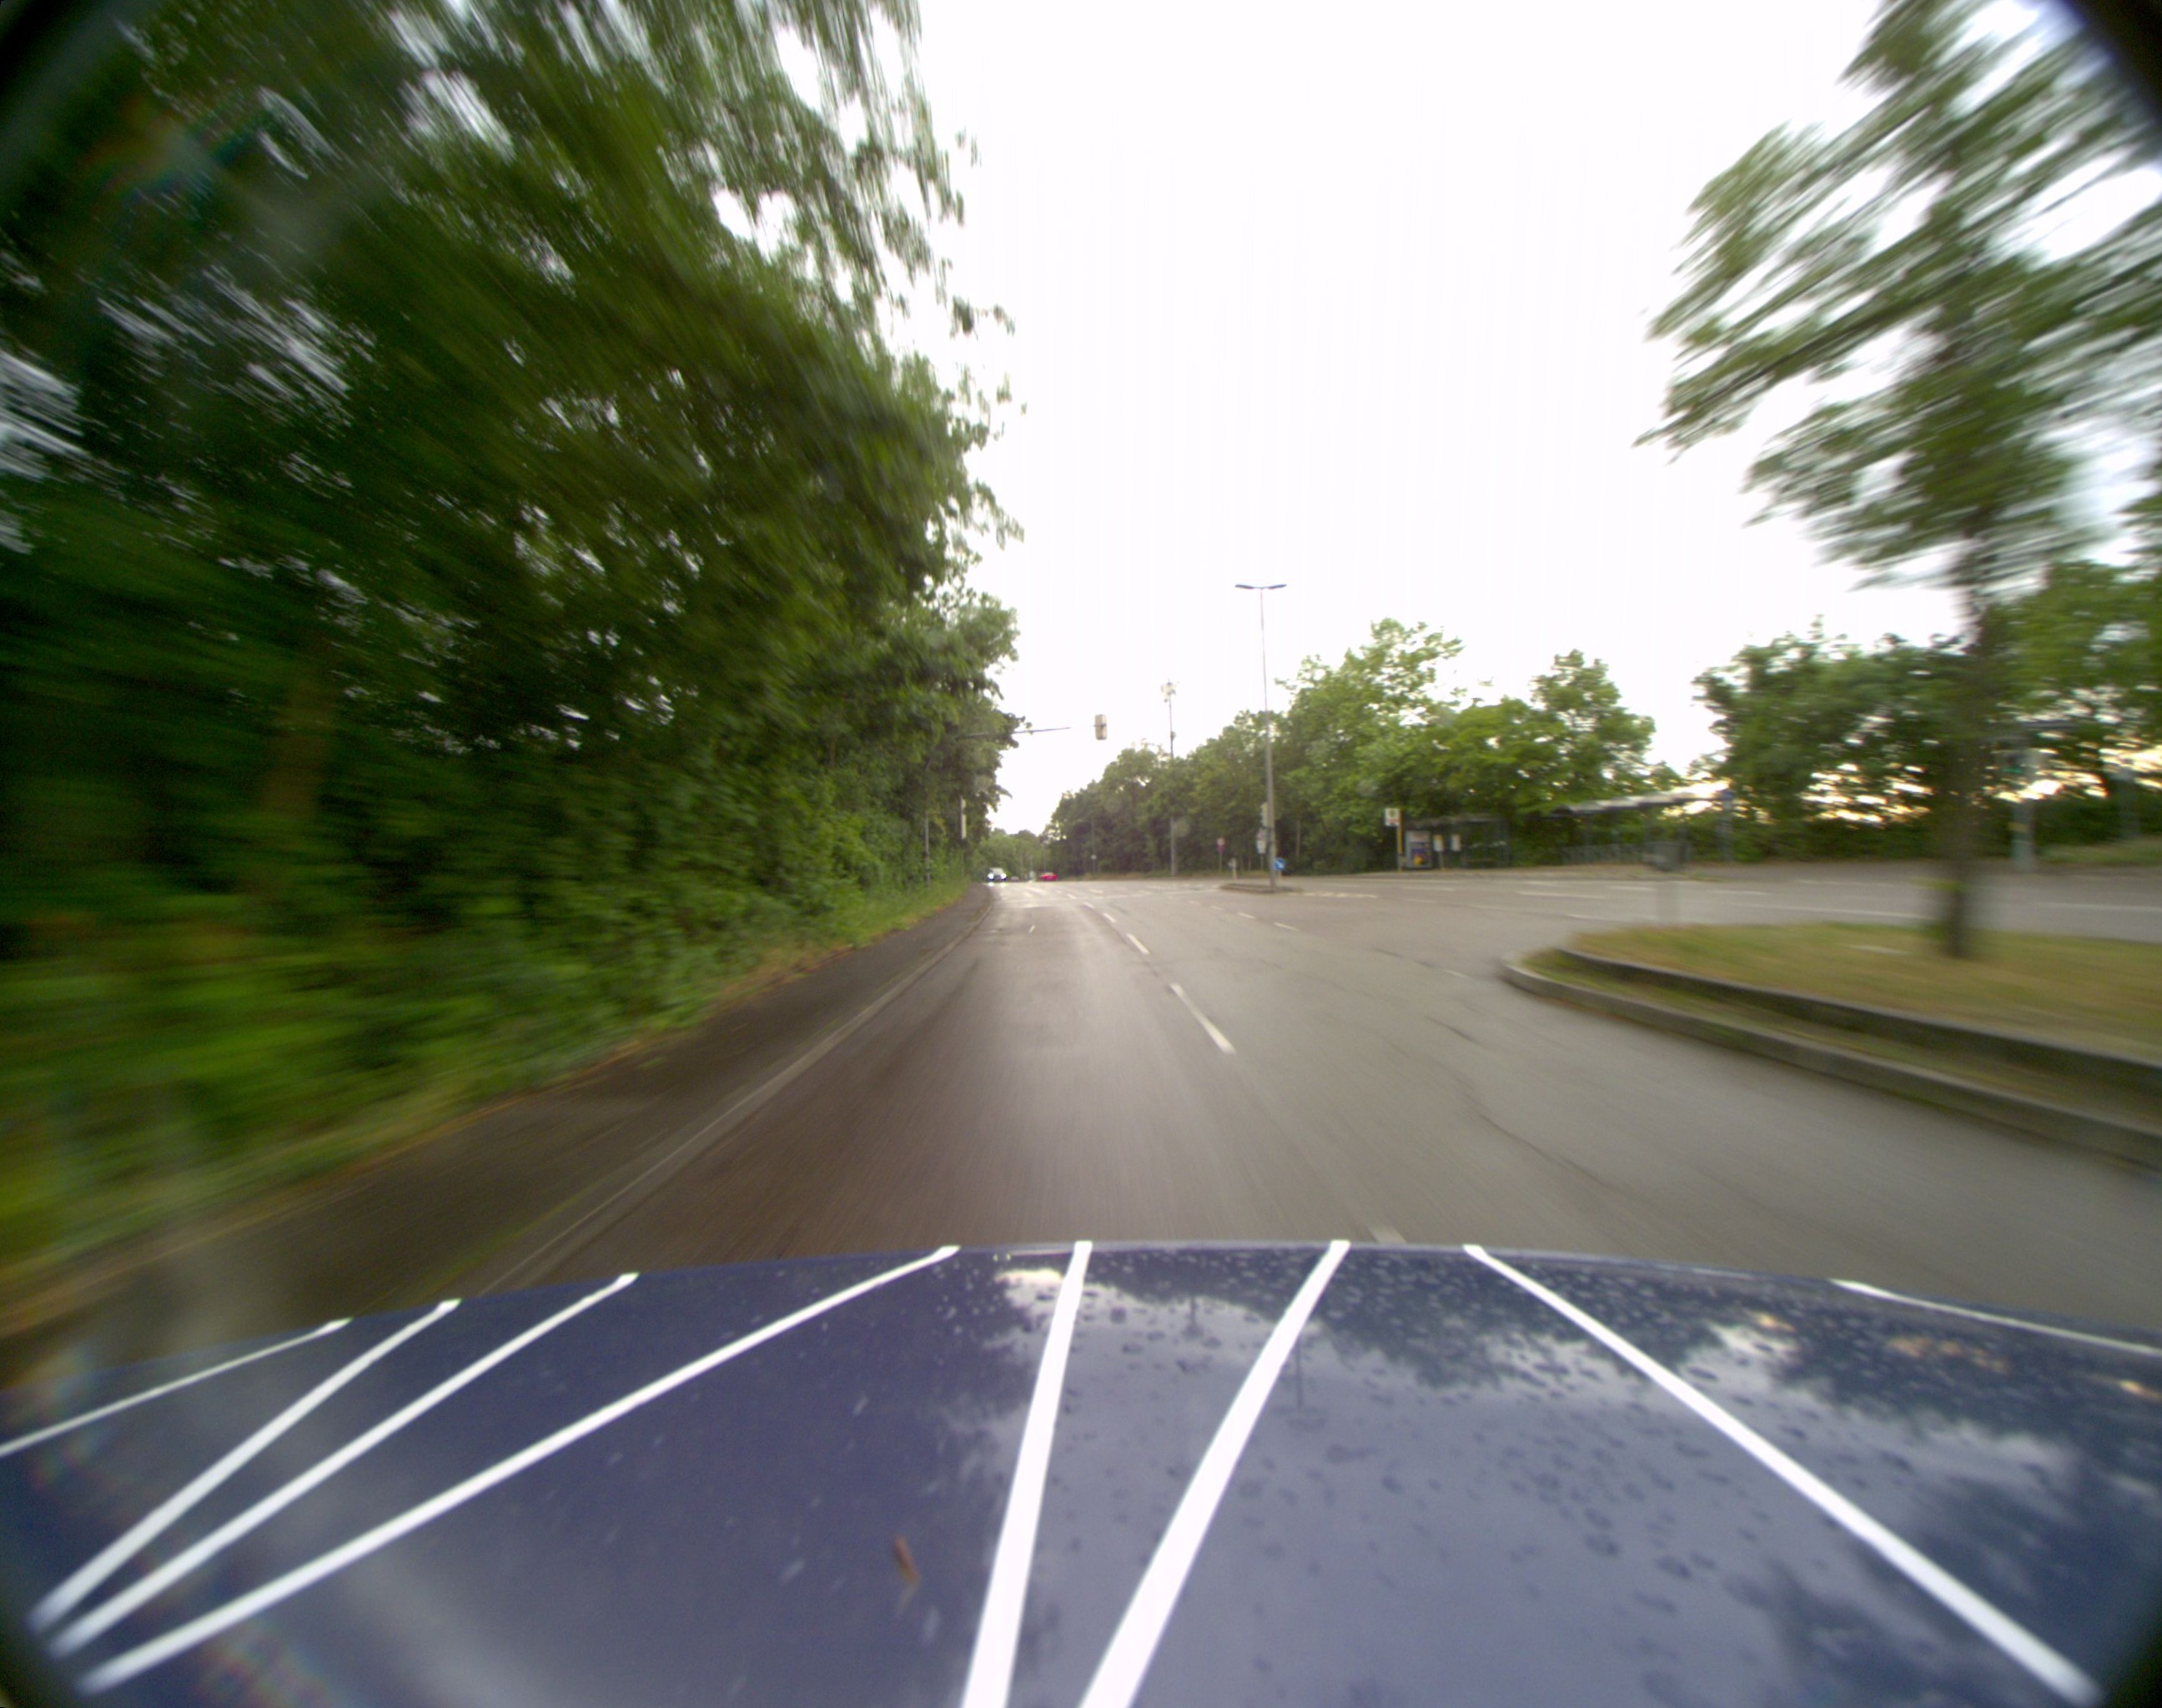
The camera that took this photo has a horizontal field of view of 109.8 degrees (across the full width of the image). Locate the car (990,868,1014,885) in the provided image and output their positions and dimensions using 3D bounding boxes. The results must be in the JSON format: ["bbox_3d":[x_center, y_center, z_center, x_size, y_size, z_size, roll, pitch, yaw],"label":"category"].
[{"bbox_3d":[-7.689,2.237,73.995,1.999,1.576,4.001,0,-2,-2],"label":"car"}]

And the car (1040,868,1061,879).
[{"bbox_3d":[-4.085,2.683,101.516,1.882,1.365,4.380,-1,-2,-14],"label":"car"}]

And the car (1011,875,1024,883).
[{"bbox_3d":[-11.308,4.450,134.909,1.637,1.386,3.996,-1,-2,-14],"label":"car"}]
